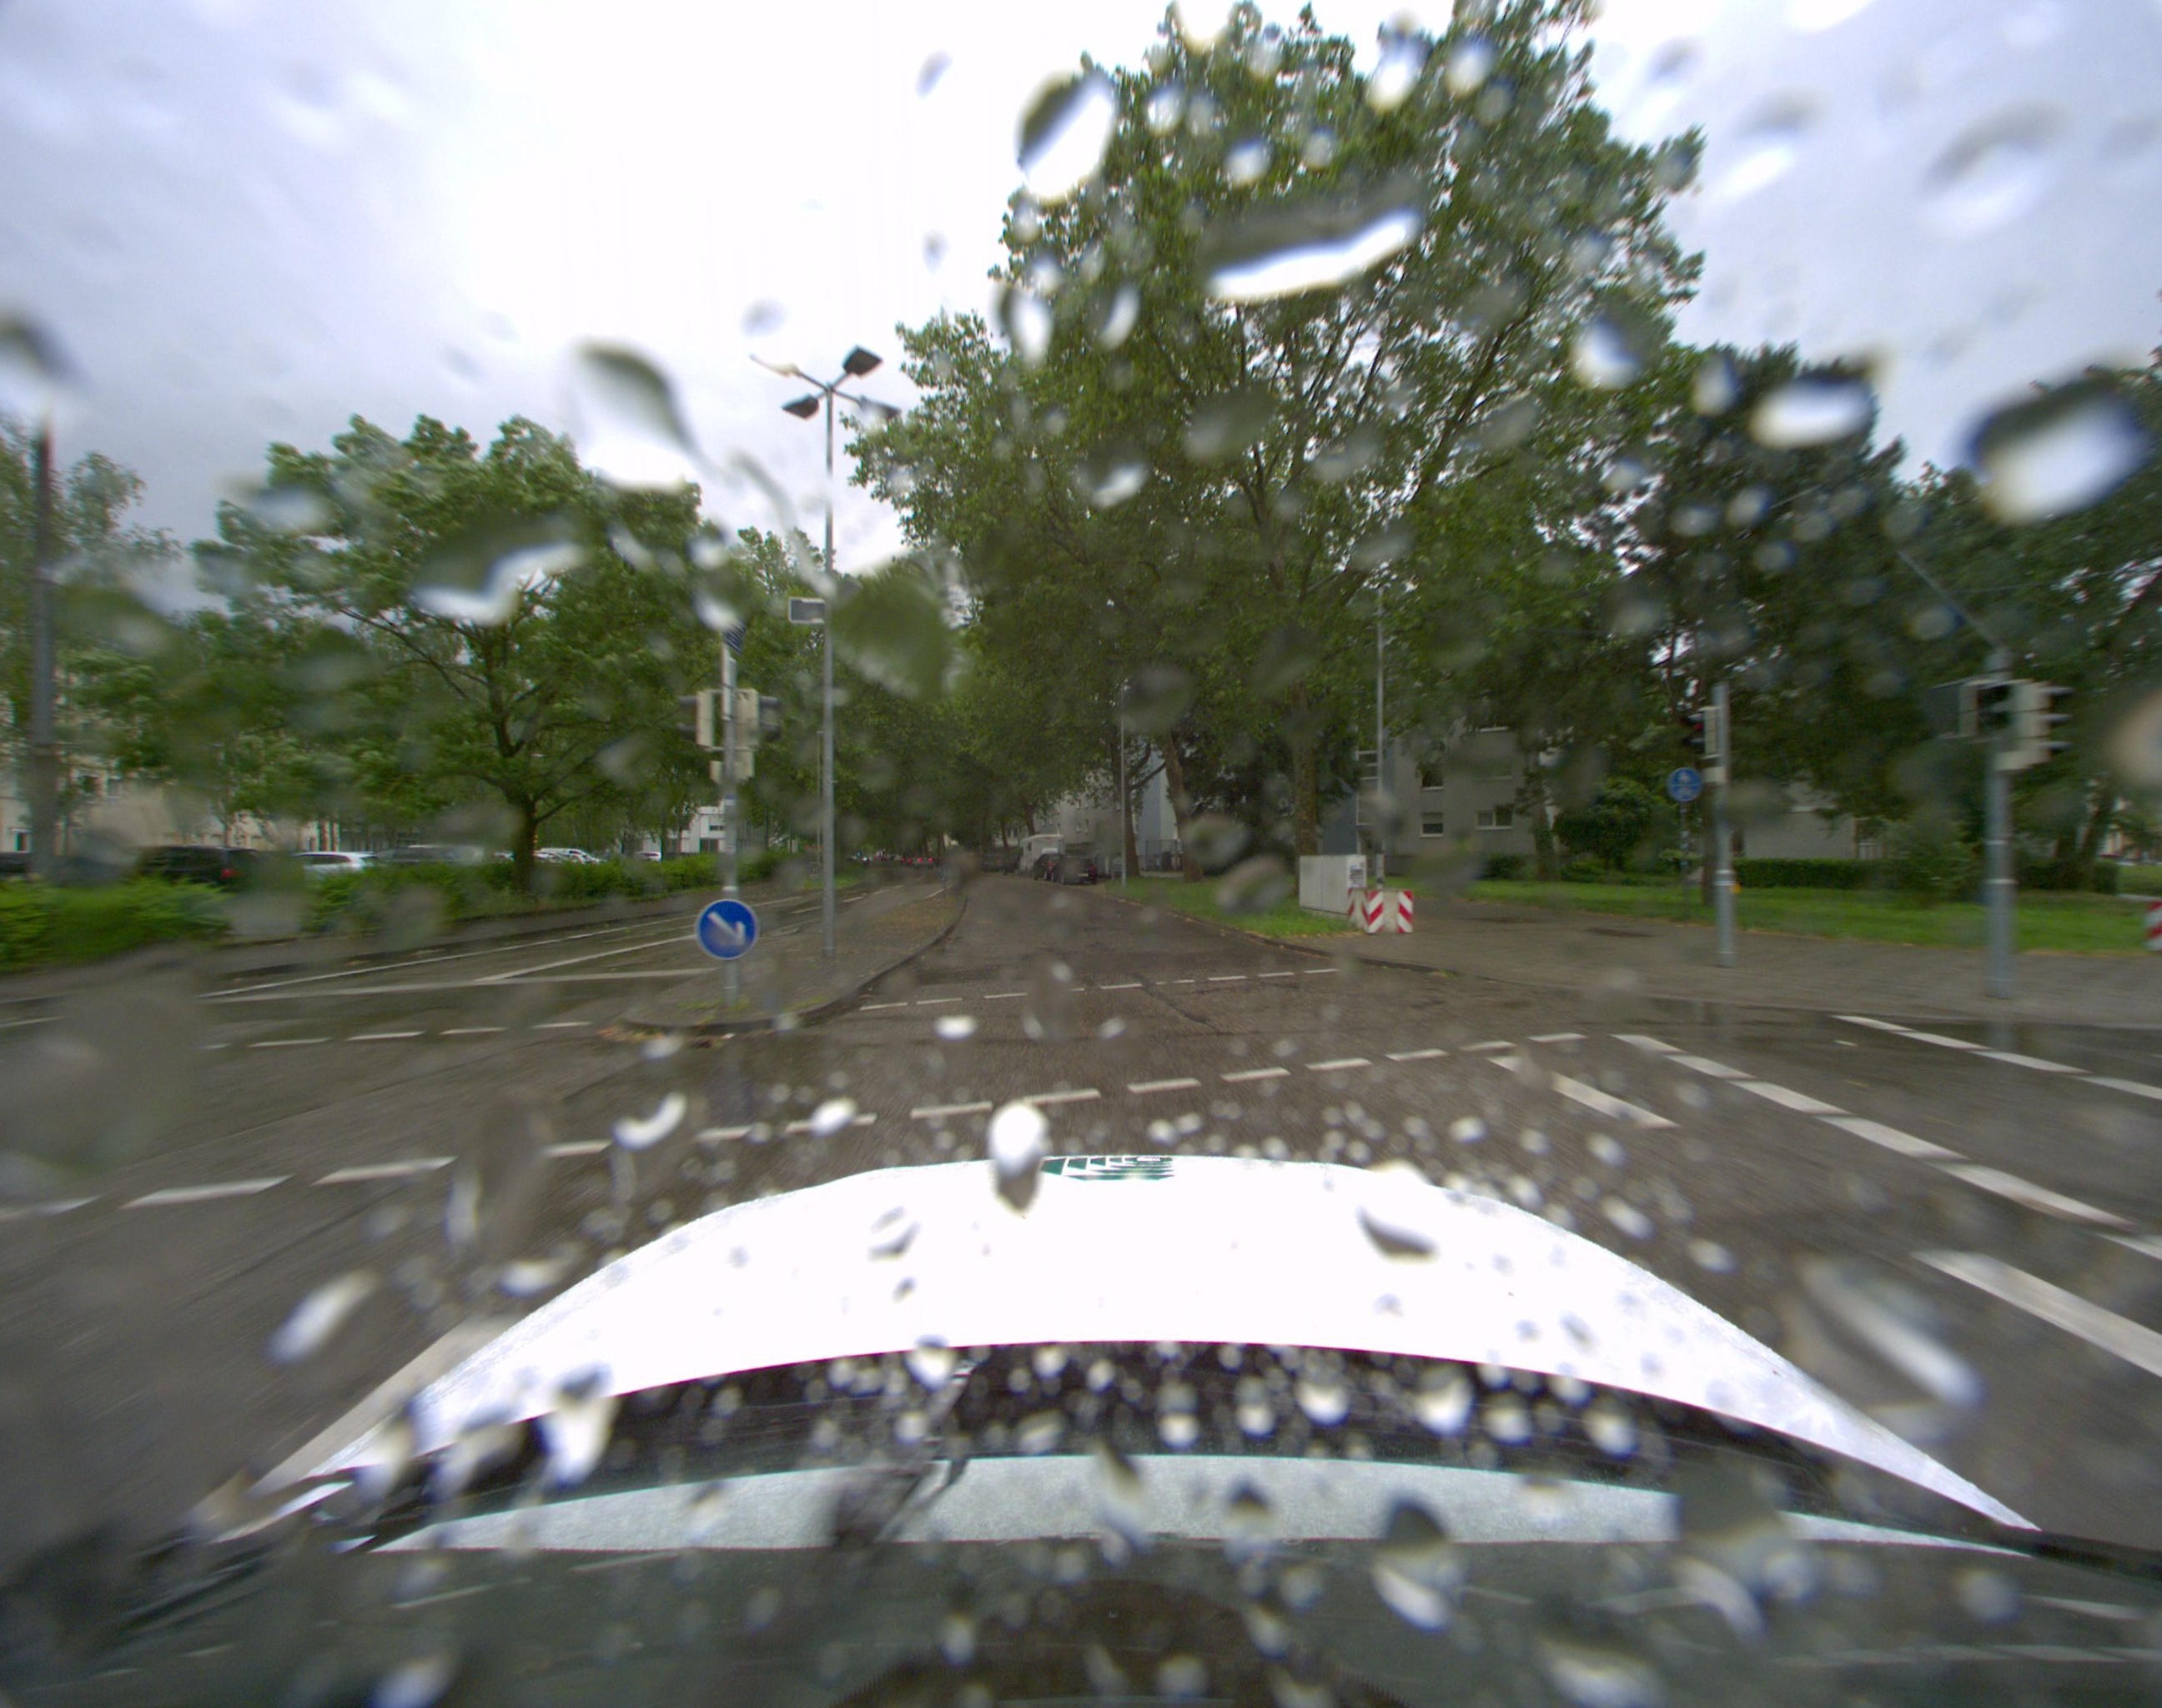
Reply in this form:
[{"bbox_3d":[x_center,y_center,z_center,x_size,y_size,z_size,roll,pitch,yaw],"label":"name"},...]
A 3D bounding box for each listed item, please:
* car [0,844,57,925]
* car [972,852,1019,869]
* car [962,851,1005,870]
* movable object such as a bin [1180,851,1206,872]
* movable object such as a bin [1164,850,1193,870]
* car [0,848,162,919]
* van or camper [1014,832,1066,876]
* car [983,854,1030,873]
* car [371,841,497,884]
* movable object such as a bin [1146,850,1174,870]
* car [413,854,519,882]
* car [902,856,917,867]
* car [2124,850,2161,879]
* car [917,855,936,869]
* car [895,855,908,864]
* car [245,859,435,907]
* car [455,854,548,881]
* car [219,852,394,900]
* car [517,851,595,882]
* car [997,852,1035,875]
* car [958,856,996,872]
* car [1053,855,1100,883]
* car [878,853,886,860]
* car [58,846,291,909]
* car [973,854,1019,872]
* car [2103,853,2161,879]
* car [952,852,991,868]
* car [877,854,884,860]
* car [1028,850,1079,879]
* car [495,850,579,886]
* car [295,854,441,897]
[{"bbox_3d":[-22.573,0.563,15.299,3.979,1.537,1.921,1,0,-4],"label":"car"},{"bbox_3d":[-8.190,0.631,78.278,4.022,1.601,2.011,1,0,-43],"label":"car"},{"bbox_3d":[-9.665,0.663,80.898,3.890,1.697,1.815,-3,3,-44],"label":"car"},{"bbox_3d":[7.953,0.509,57.850,1.326,1.432,1.356,1,0,-34],"label":"movable object such as a bin"},{"bbox_3d":[7.087,0.455,59.236,1.221,1.432,1.843,1,0,-33],"label":"movable object such as a bin"},{"bbox_3d":[-22.876,0.594,17.433,3.979,1.423,1.921,1,0,-4],"label":"car"},{"bbox_3d":[-2.883,0.035,55.686,2.322,2.807,6.831,0,0,-14],"label":"van or camper"},{"bbox_3d":[-6.407,0.792,70.616,1.780,1.601,3.791,1,0,44],"label":"car"},{"bbox_3d":[-29.047,0.389,36.696,3.999,1.833,1.842,1,0,-20],"label":"car"},{"bbox_3d":[5.894,0.440,60.713,1.221,1.432,1.843,1,0,-33],"label":"movable object such as a bin"},{"bbox_3d":[-32.210,0.692,42.765,3.992,1.374,1.877,-1,0,-14],"label":"car"},{"bbox_3d":[-23.784,0.988,113.045,1.710,1.411,3.625,-2,1,-16],"label":"car"},{"bbox_3d":[75.822,0.738,57.322,2.096,2.013,4.025,1,0,39],"label":"car"},{"bbox_3d":[-17.415,0.890,91.865,1.710,1.411,3.625,-2,1,-16],"label":"car"},{"bbox_3d":[-28.734,0.910,130.490,1.710,1.411,3.625,-2,1,-16],"label":"car"},{"bbox_3d":[-22.229,0.847,24.559,3.980,1.338,1.713,1,0,-5],"label":"car"},{"bbox_3d":[-33.907,0.764,47.770,3.992,1.551,1.877,0,0,-14],"label":"car"},{"bbox_3d":[-27.441,0.757,29.039,4.000,1.638,1.987,1,0,-20],"label":"car"},{"bbox_3d":[-35.658,0.832,55.453,3.994,2.013,1.990,-1,0,-15],"label":"car"},{"bbox_3d":[-4.879,0.695,60.989,1.698,1.652,2.917,1,0,-32],"label":"car"},{"bbox_3d":[-11.565,1.082,90.503,3.994,1.727,1.792,1,0,-16],"label":"car"},{"bbox_3d":[-0.293,0.751,42.695,1.550,1.390,4.131,1,0,-13],"label":"car"},{"bbox_3d":[-47.379,0.613,193.667,1.710,1.411,3.625,-2,1,-16],"label":"car"},{"bbox_3d":[-24.563,0.621,22.231,3.990,1.611,1.644,1,0,-12],"label":"car"},{"bbox_3d":[-7.731,0.789,74.248,1.780,1.601,4.023,1,0,44],"label":"car"},{"bbox_3d":[83.903,0.965,65.059,1.974,2.013,4.025,1,0,39],"label":"car"},{"bbox_3d":[-12.618,0.686,93.839,4.346,1.762,1.809,1,0,-16],"label":"car"},{"bbox_3d":[-54.385,0.808,220.396,1.710,1.411,3.625,-2,1,-16],"label":"car"},{"bbox_3d":[-1.653,0.654,47.871,1.920,1.620,4.427,1,-2,-17],"label":"car"},{"bbox_3d":[-34.969,0.871,52.480,3.993,2.133,1.990,-1,0,-15],"label":"car"},{"bbox_3d":[-28.334,0.853,32.512,3.994,1.638,1.700,1,0,-16],"label":"car"}]
